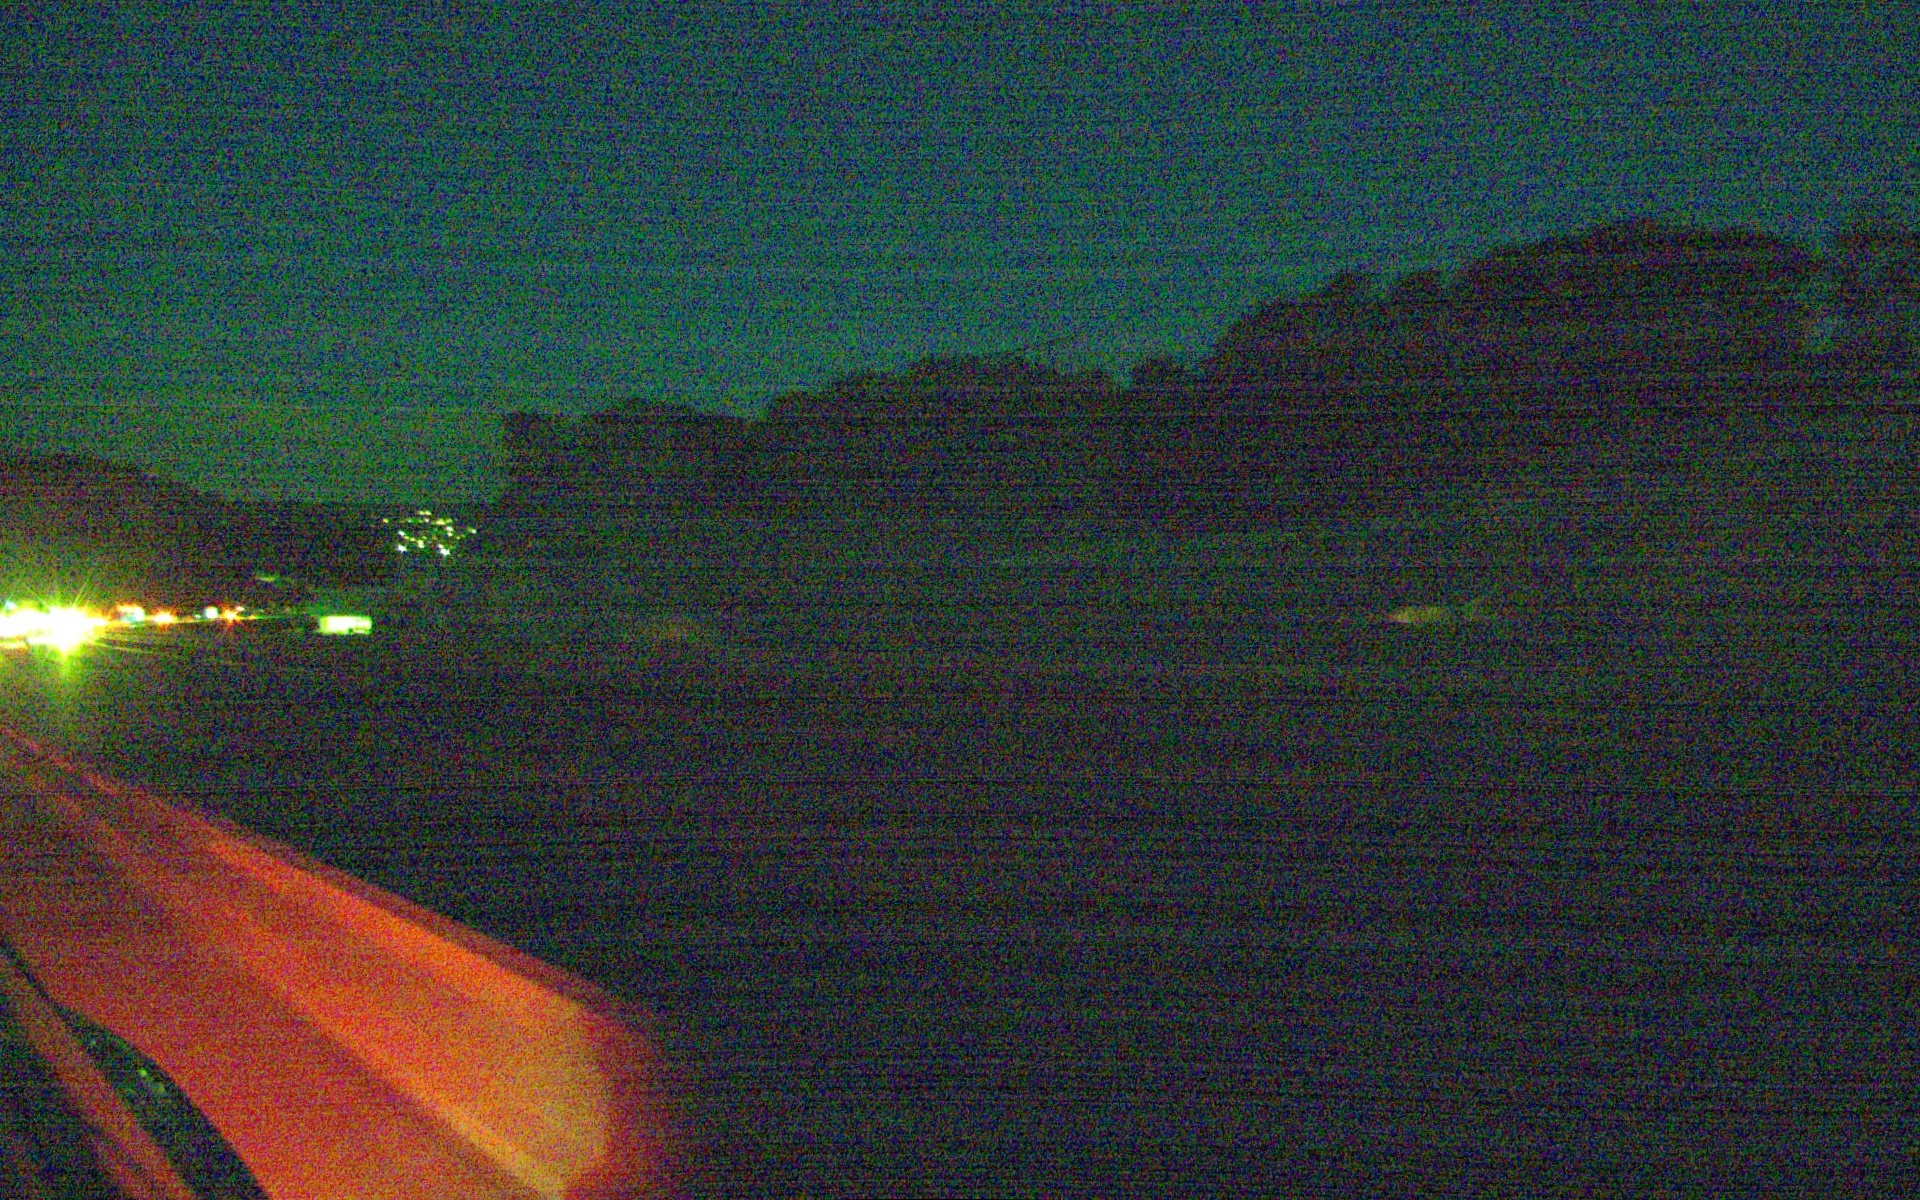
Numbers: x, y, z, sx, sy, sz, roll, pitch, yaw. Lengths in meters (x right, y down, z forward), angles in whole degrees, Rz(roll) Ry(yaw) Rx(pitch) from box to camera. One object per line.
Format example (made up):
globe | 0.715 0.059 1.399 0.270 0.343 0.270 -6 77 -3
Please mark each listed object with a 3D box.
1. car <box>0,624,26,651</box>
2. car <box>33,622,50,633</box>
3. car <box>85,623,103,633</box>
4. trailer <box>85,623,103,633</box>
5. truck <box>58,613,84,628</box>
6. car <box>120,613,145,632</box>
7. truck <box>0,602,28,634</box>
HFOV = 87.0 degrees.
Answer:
car | -59.816 2.320 63.352 1.797 1.527 4.526 2 -1 -44
car | -146.915 4.470 161.923 1.665 1.641 4.730 2 -3 -39
car | -125.176 4.083 146.307 1.889 1.437 4.958 2 -3 -42
trailer | -122.472 3.960 143.166 1.860 1.437 3.355 2 -3 -41
truck | -144.165 3.376 164.120 2.388 2.443 7.108 1 -2 -35
car | -146.002 3.931 178.651 2.452 3.129 7.406 1 -1 -32
truck | -134.270 2.471 142.382 2.925 4.307 17.182 2 -1 -37
